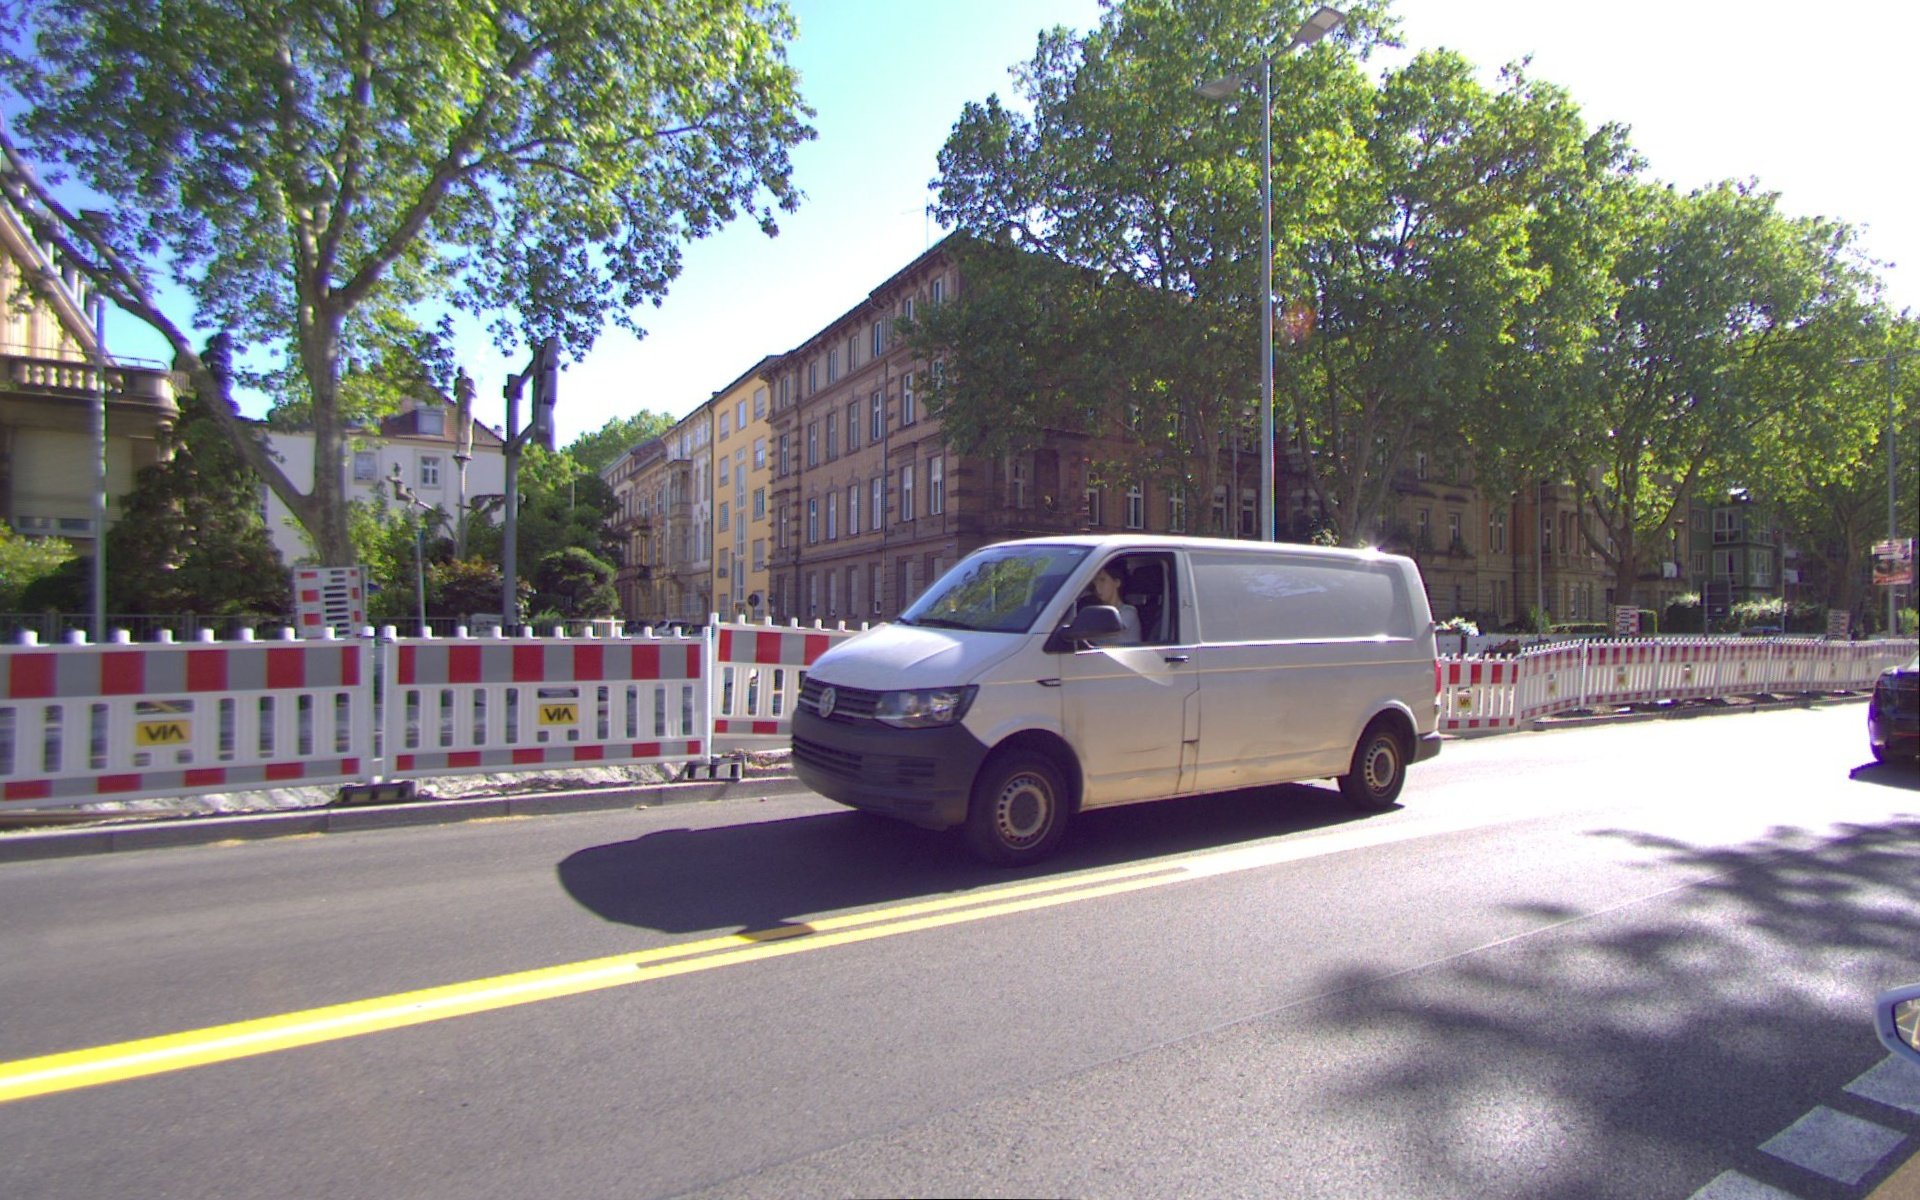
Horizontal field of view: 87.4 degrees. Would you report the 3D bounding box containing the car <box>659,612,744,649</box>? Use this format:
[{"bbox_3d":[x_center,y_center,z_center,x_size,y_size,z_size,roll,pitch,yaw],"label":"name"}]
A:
[{"bbox_3d":[-12.782,1.536,49.726,3.759,1.759,1.610,1,-2,-30],"label":"car"}]

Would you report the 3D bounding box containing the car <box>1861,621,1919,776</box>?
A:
[{"bbox_3d":[11.455,1.000,10.624,4.428,1.502,1.827,1,-1,-33],"label":"car"}]

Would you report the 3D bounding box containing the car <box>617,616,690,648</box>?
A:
[{"bbox_3d":[-17.688,1.850,57.984,3.759,1.759,1.610,1,-2,-30],"label":"car"}]

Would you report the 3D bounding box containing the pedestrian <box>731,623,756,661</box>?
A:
[{"bbox_3d":[-9.719,1.890,45.137,0.814,1.682,0.758,-1,-2,33],"label":"pedestrian"}]

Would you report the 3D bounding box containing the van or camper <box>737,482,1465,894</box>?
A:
[{"bbox_3d":[1.259,0.504,7.290,5.272,2.040,1.982,2,-1,-34],"label":"van or camper"}]
